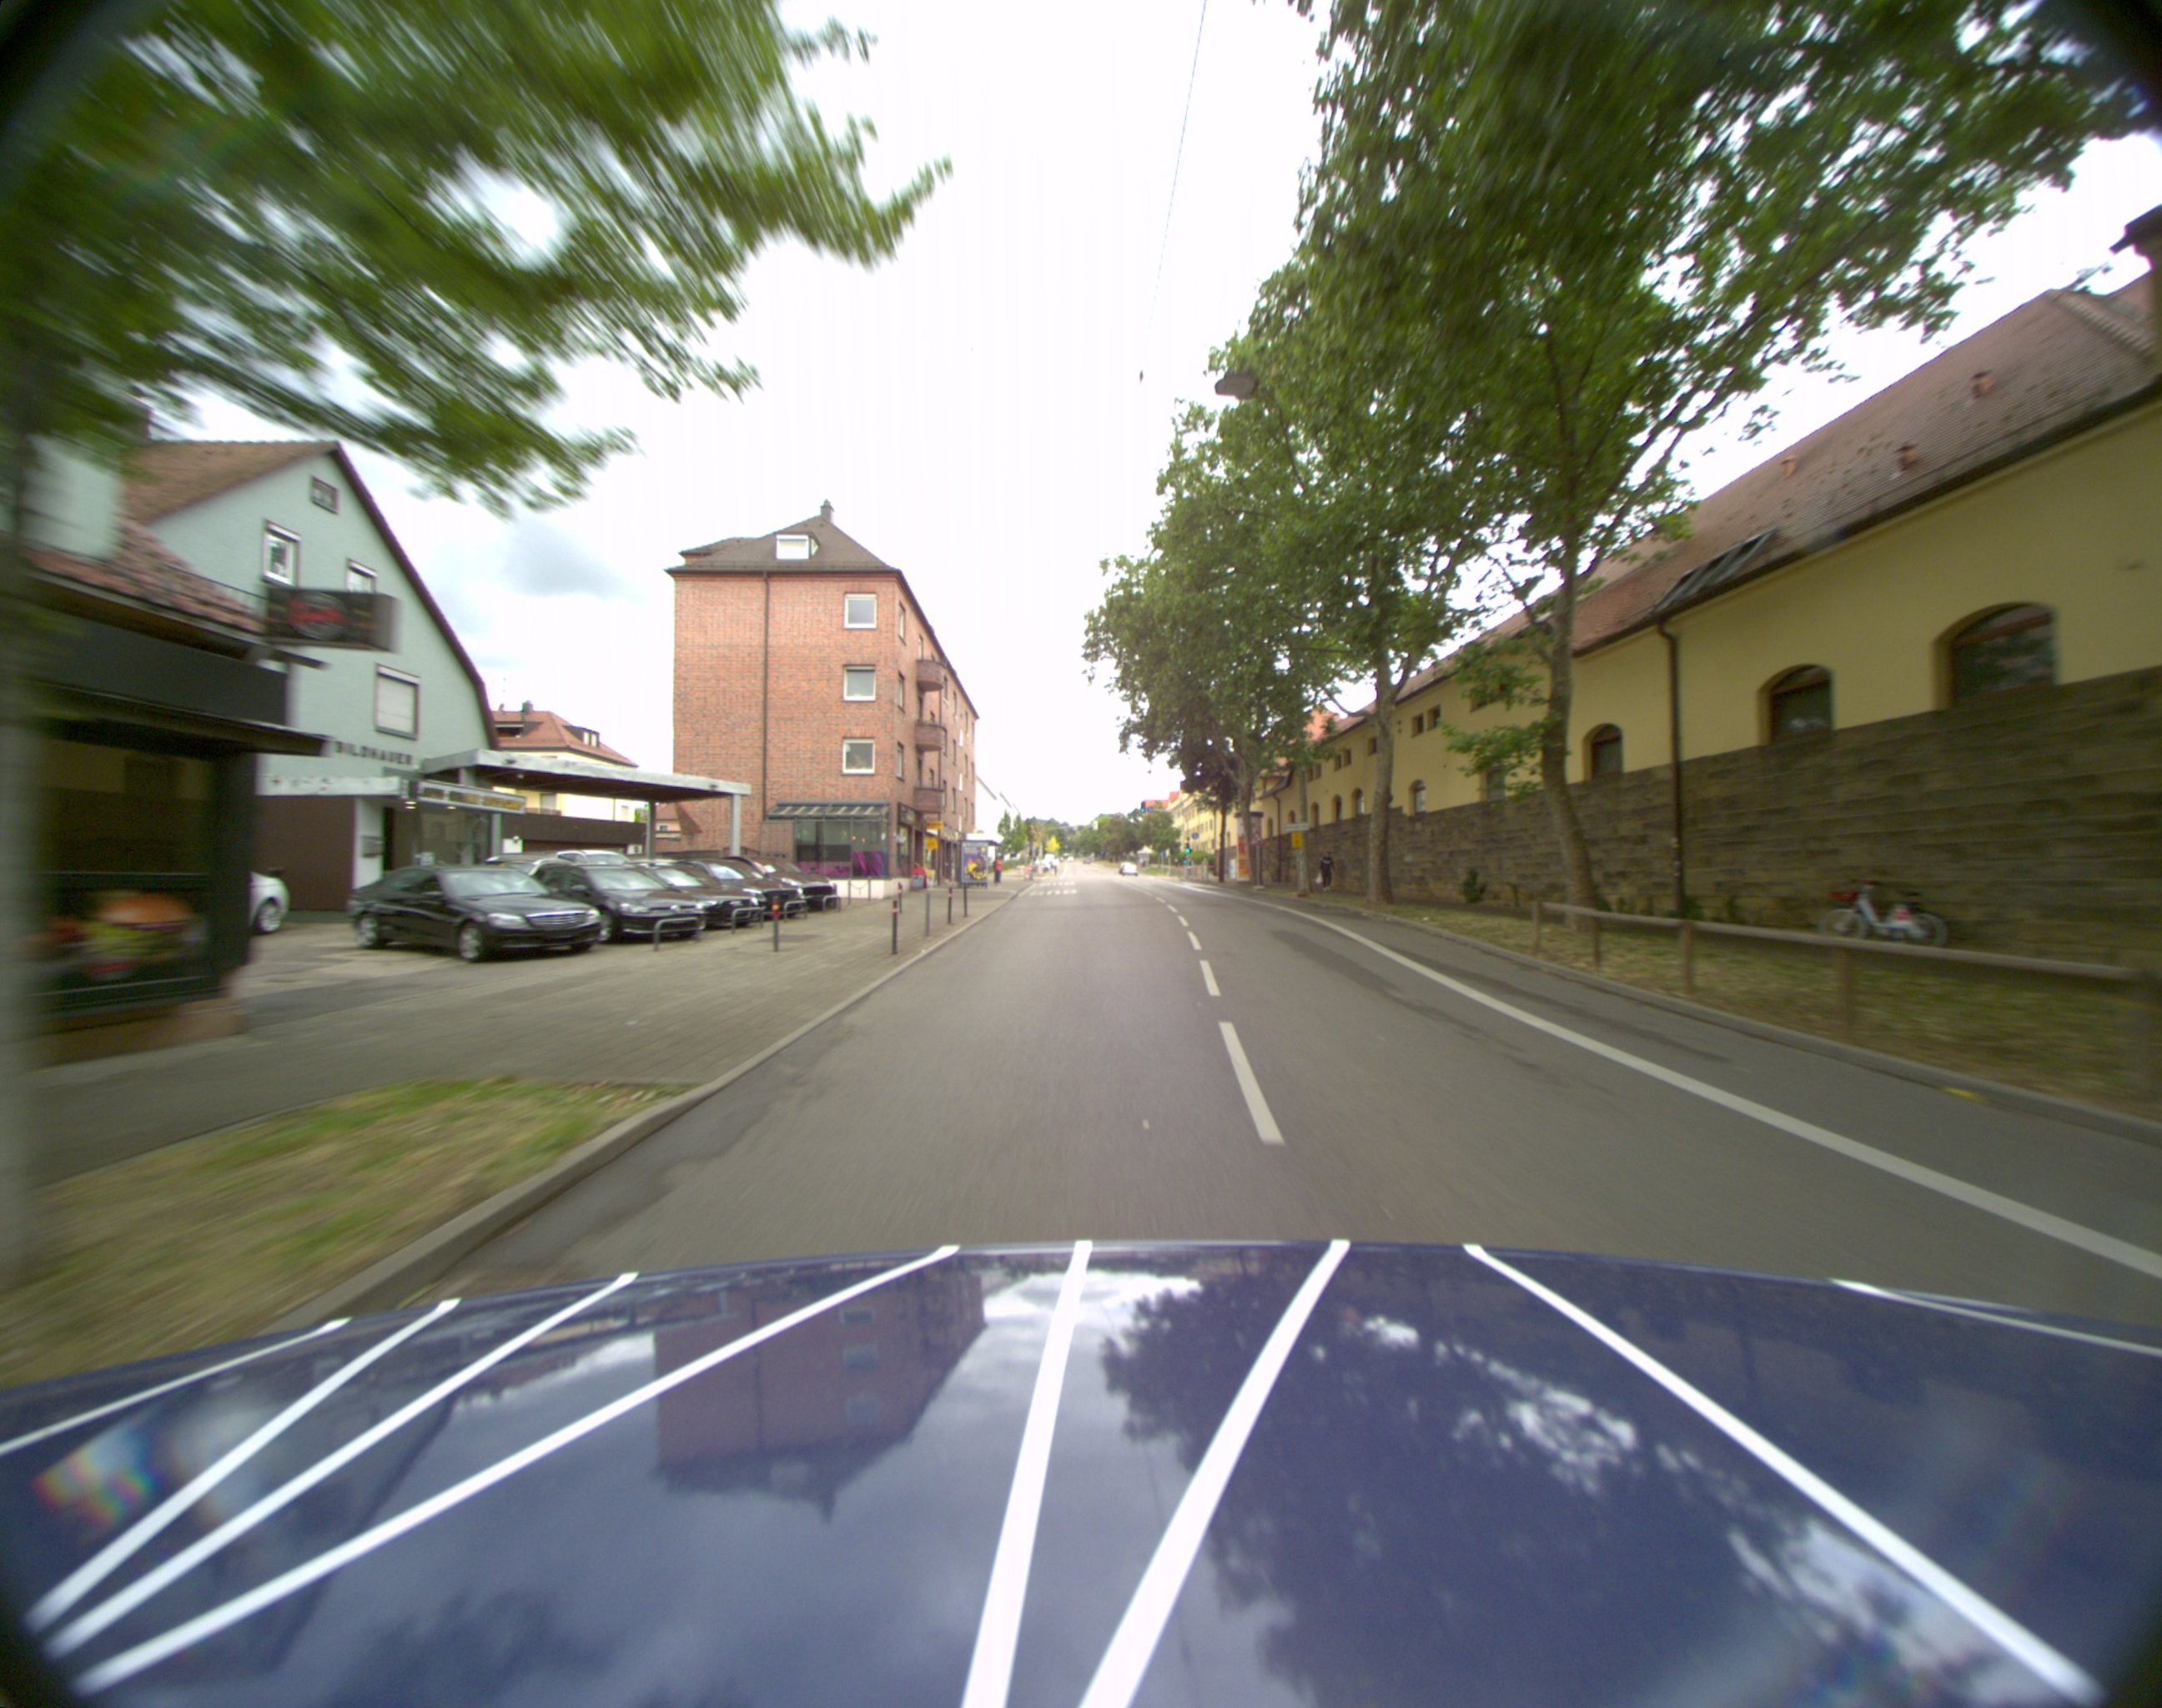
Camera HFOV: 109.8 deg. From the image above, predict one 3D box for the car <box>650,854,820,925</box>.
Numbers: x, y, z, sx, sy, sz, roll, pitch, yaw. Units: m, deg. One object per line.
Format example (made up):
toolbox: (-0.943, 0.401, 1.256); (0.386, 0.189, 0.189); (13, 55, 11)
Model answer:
car: (-9.213, 0.910, 20.226); (3.990, 1.663, 1.927); (-2, 1, 25)

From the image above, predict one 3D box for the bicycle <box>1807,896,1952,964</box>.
bicycle: (12.091, 1.119, 11.588); (0.336, 0.841, 1.776); (-2, 0, 0)

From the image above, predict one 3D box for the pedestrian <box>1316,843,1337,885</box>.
pedestrian: (11.262, 0.463, 34.928); (0.673, 1.865, 0.816); (-2, 1, 1)

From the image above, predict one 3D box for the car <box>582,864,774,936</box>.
car: (-9.300, 1.018, 17.511); (4.094, 1.457, 1.772); (-2, 0, 25)

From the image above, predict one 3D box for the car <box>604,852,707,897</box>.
car: (-13.922, 0.675, 24.849); (3.160, 1.355, 1.471); (-1, 1, 30)

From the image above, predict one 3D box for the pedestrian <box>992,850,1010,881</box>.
pedestrian: (-5.168, 0.747, 49.142); (0.785, 2.002, 0.859); (-1, 1, 20)

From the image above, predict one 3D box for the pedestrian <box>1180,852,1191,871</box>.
pedestrian: (9.433, 0.660, 68.418); (0.854, 1.677, 0.931); (-2, 1, 1)

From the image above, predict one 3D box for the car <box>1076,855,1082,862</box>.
car: (-0.655, 1.400, 251.702); (1.998, 2.002, 4.000); (-2, 1, 3)

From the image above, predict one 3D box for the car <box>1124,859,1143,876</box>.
car: (5.978, 1.519, 85.727); (1.919, 1.640, 3.634); (-2, 1, 7)

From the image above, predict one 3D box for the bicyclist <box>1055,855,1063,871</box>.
bicyclist: (-2.365, 0.957, 81.632); (0.681, 1.619, 0.751); (-2, 2, 16)

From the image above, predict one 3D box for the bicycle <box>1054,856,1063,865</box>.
bicycle: (-2.388, 0.673, 81.586); (0.368, 0.986, 1.723); (-1, 0, 17)

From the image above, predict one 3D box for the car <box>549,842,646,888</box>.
car: (-17.500, 0.400, 27.471); (3.269, 1.561, 1.563); (-1, 1, 30)

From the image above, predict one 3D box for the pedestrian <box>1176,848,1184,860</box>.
pedestrian: (15.919, -0.007, 122.199); (1.043, 1.979, 1.096); (-2, 1, 1)

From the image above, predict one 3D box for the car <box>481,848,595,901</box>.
car: (-17.352, 0.657, 24.267); (3.615, 1.578, 1.557); (-1, 0, 30)

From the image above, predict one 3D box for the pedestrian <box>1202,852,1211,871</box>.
pedestrian: (11.133, 0.665, 67.307); (0.625, 1.653, 0.549); (-2, 2, 1)

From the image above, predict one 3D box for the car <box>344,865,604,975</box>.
car: (-9.845, 0.953, 12.327); (3.874, 1.443, 1.706); (1, 1, 24)

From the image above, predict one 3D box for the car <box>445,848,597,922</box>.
car: (-13.415, 0.666, 18.477); (1.695, 1.592, 3.620); (-1, 1, -14)

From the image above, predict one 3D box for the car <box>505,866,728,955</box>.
car: (-8.953, 0.987, 14.621); (4.034, 1.475, 1.802); (0, 1, 27)

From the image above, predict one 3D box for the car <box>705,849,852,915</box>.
car: (-9.127, 0.821, 22.924); (3.927, 1.787, 1.955); (-2, 1, 27)
